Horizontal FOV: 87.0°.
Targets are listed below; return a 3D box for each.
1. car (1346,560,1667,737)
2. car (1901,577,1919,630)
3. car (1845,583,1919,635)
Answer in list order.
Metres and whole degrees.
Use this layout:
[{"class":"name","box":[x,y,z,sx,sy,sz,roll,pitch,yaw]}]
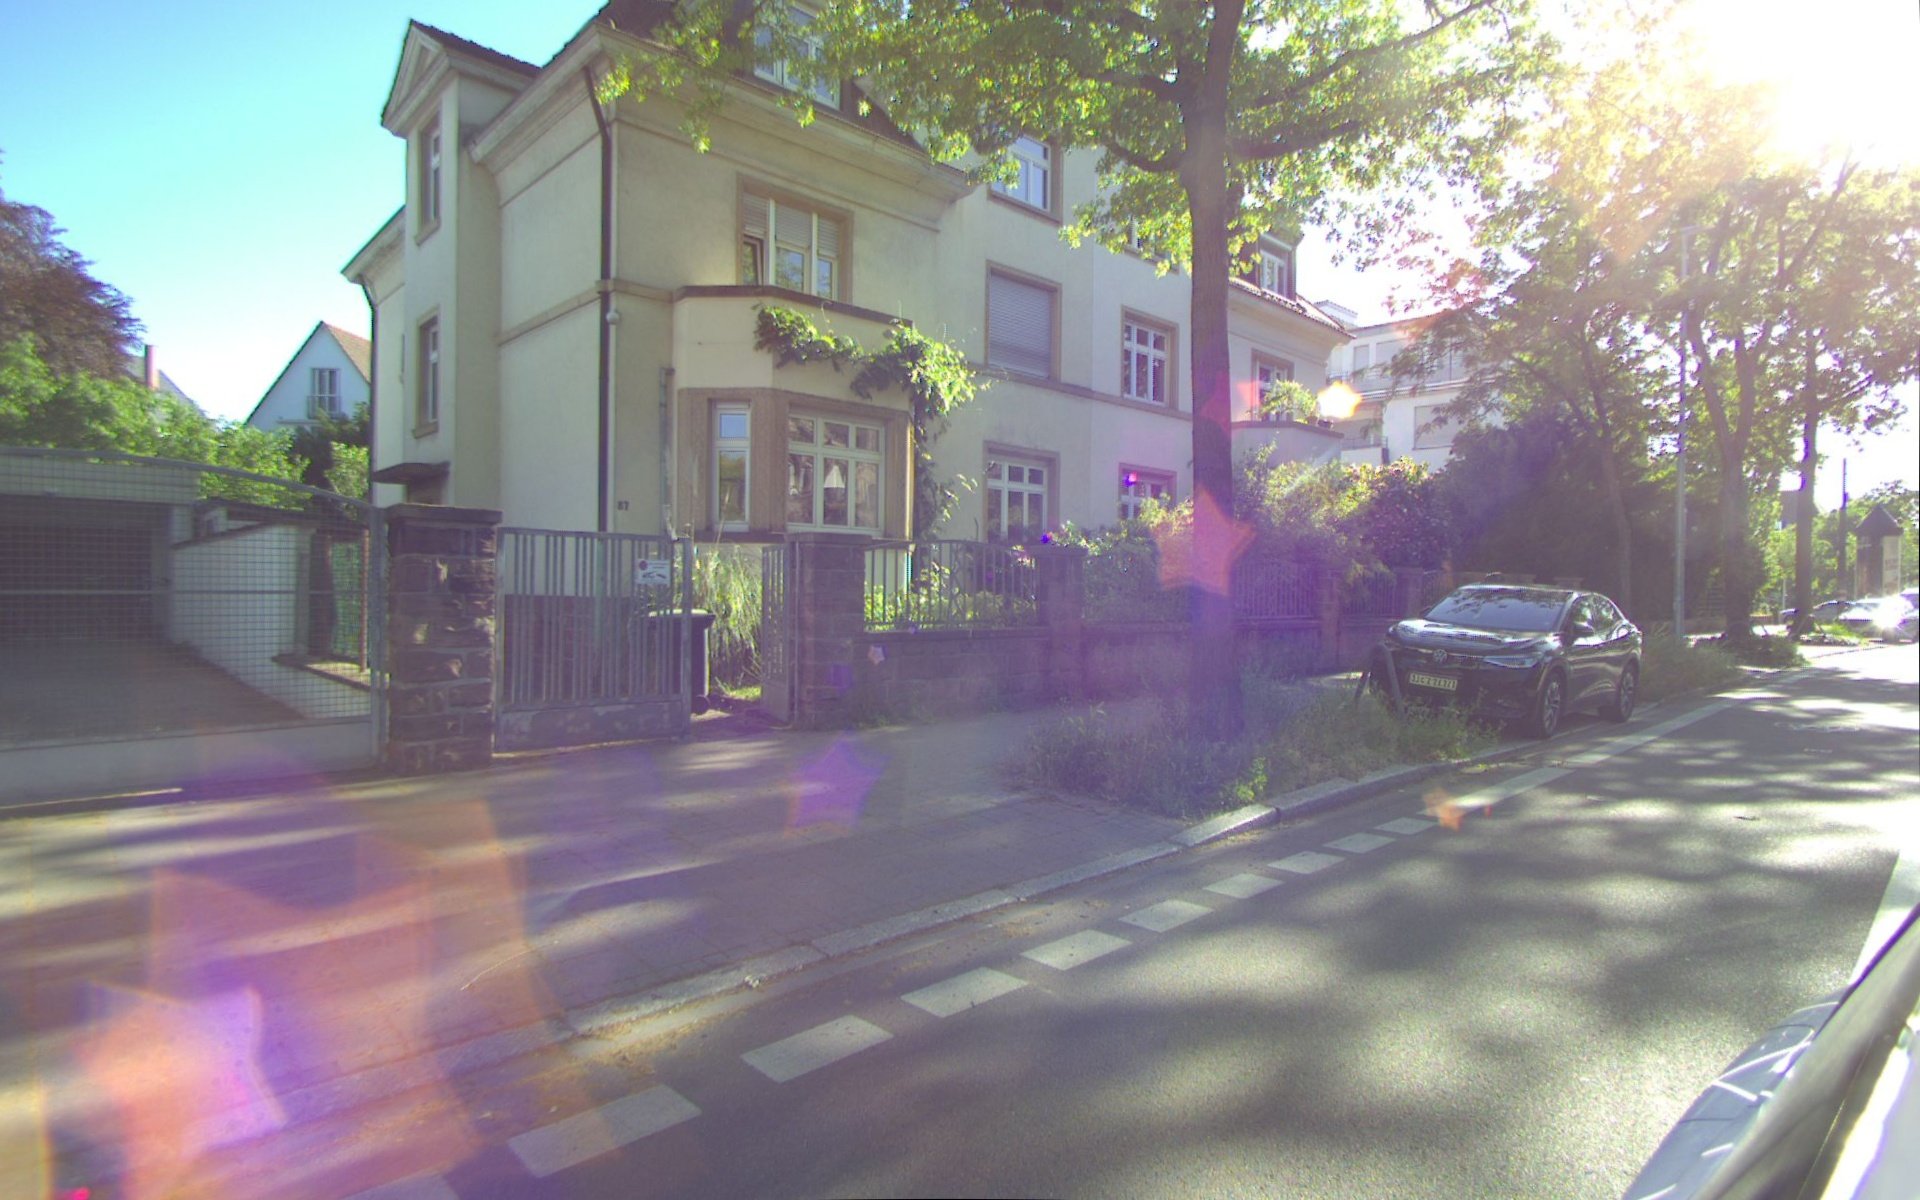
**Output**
[{"class":"car","box":[6.691,0.487,12.196,4.304,1.695,1.997,1,2,-42]},{"class":"car","box":[36.956,0.130,37.825,4.663,1.919,2.128,0,1,-41]},{"class":"car","box":[31.506,0.267,34.091,3.927,1.660,1.824,0,1,-38]}]
